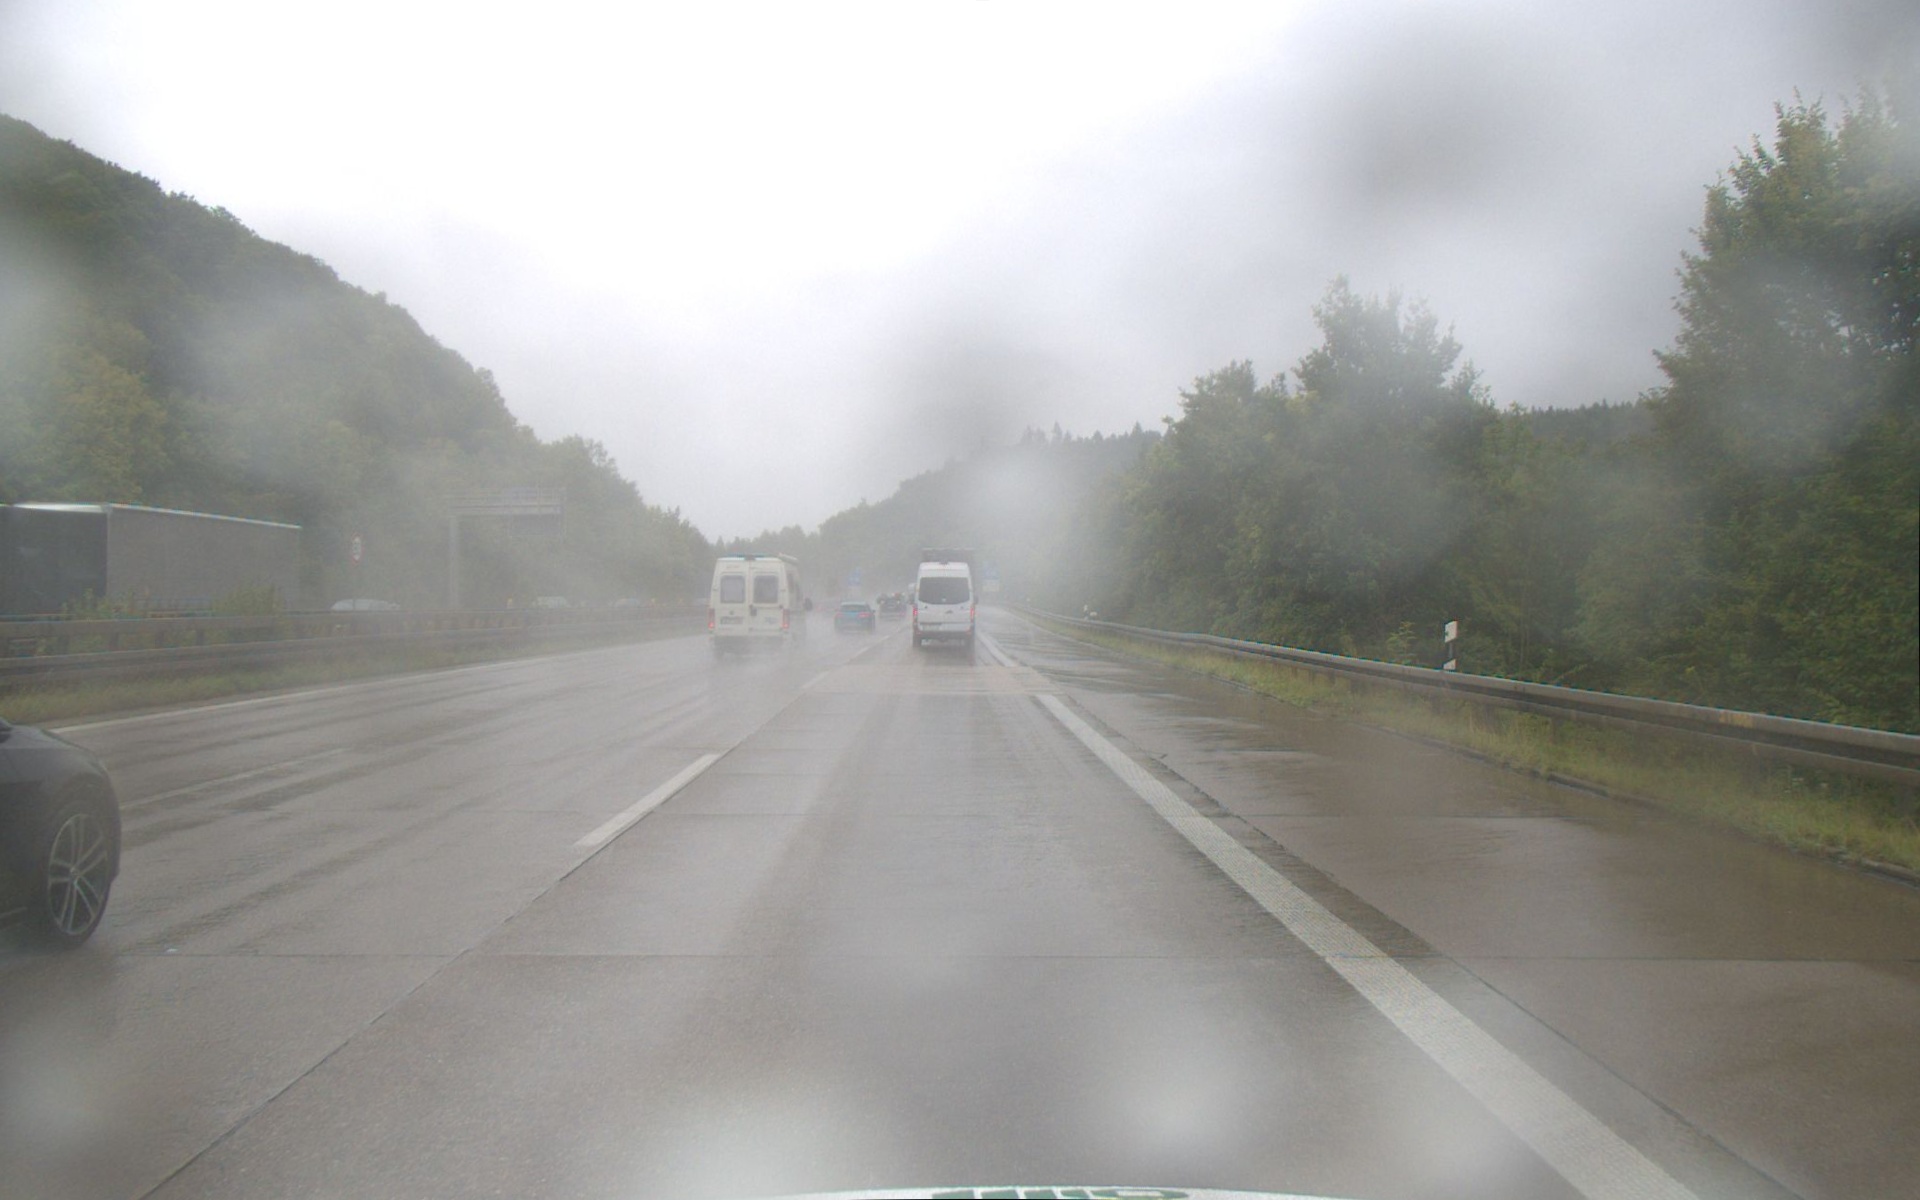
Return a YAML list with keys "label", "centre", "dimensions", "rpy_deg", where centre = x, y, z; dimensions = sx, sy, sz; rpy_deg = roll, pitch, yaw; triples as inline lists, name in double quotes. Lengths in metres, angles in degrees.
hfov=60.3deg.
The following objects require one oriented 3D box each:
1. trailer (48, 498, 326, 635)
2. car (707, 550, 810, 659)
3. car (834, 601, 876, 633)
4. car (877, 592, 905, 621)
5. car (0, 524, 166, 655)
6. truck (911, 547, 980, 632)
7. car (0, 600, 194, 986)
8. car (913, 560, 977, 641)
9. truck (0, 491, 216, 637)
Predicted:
- label: "trailer"
  centre: [-25.012, -0.965, 54.769]
  dimensions: [2.711, 3.868, 13.776]
  rpy_deg: [2, 0, 0]
- label: "car"
  centre: [-4.942, 0.100, 41.261]
  dimensions: [1.957, 2.474, 5.788]
  rpy_deg: [2, 0, -2]
- label: "car"
  centre: [-4.808, 0.764, 75.761]
  dimensions: [1.820, 1.362, 4.348]
  rpy_deg: [2, 0, -4]
- label: "car"
  centre: [-4.661, 0.409, 112.026]
  dimensions: [1.831, 1.841, 4.187]
  rpy_deg: [2, 0, -2]
- label: "car"
  centre: [-20.119, -0.247, 35.831]
  dimensions: [2.138, 2.612, 7.445]
  rpy_deg: [2, 0, 0]
- label: "truck"
  centre: [-0.776, -0.643, 83.352]
  dimensions: [3.316, 4.037, 8.666]
  rpy_deg: [0, 2, -1]
- label: "car"
  centre: [-4.366, 0.706, 5.423]
  dimensions: [1.705, 1.412, 4.321]
  rpy_deg: [0, 0, 0]
- label: "car"
  centre: [-0.527, 0.012, 52.976]
  dimensions: [1.861, 2.374, 5.248]
  rpy_deg: [2, 0, -2]
- label: "truck"
  centre: [-24.962, -0.985, 48.503]
  dimensions: [2.718, 3.868, 7.679]
  rpy_deg: [2, 0, -1]
